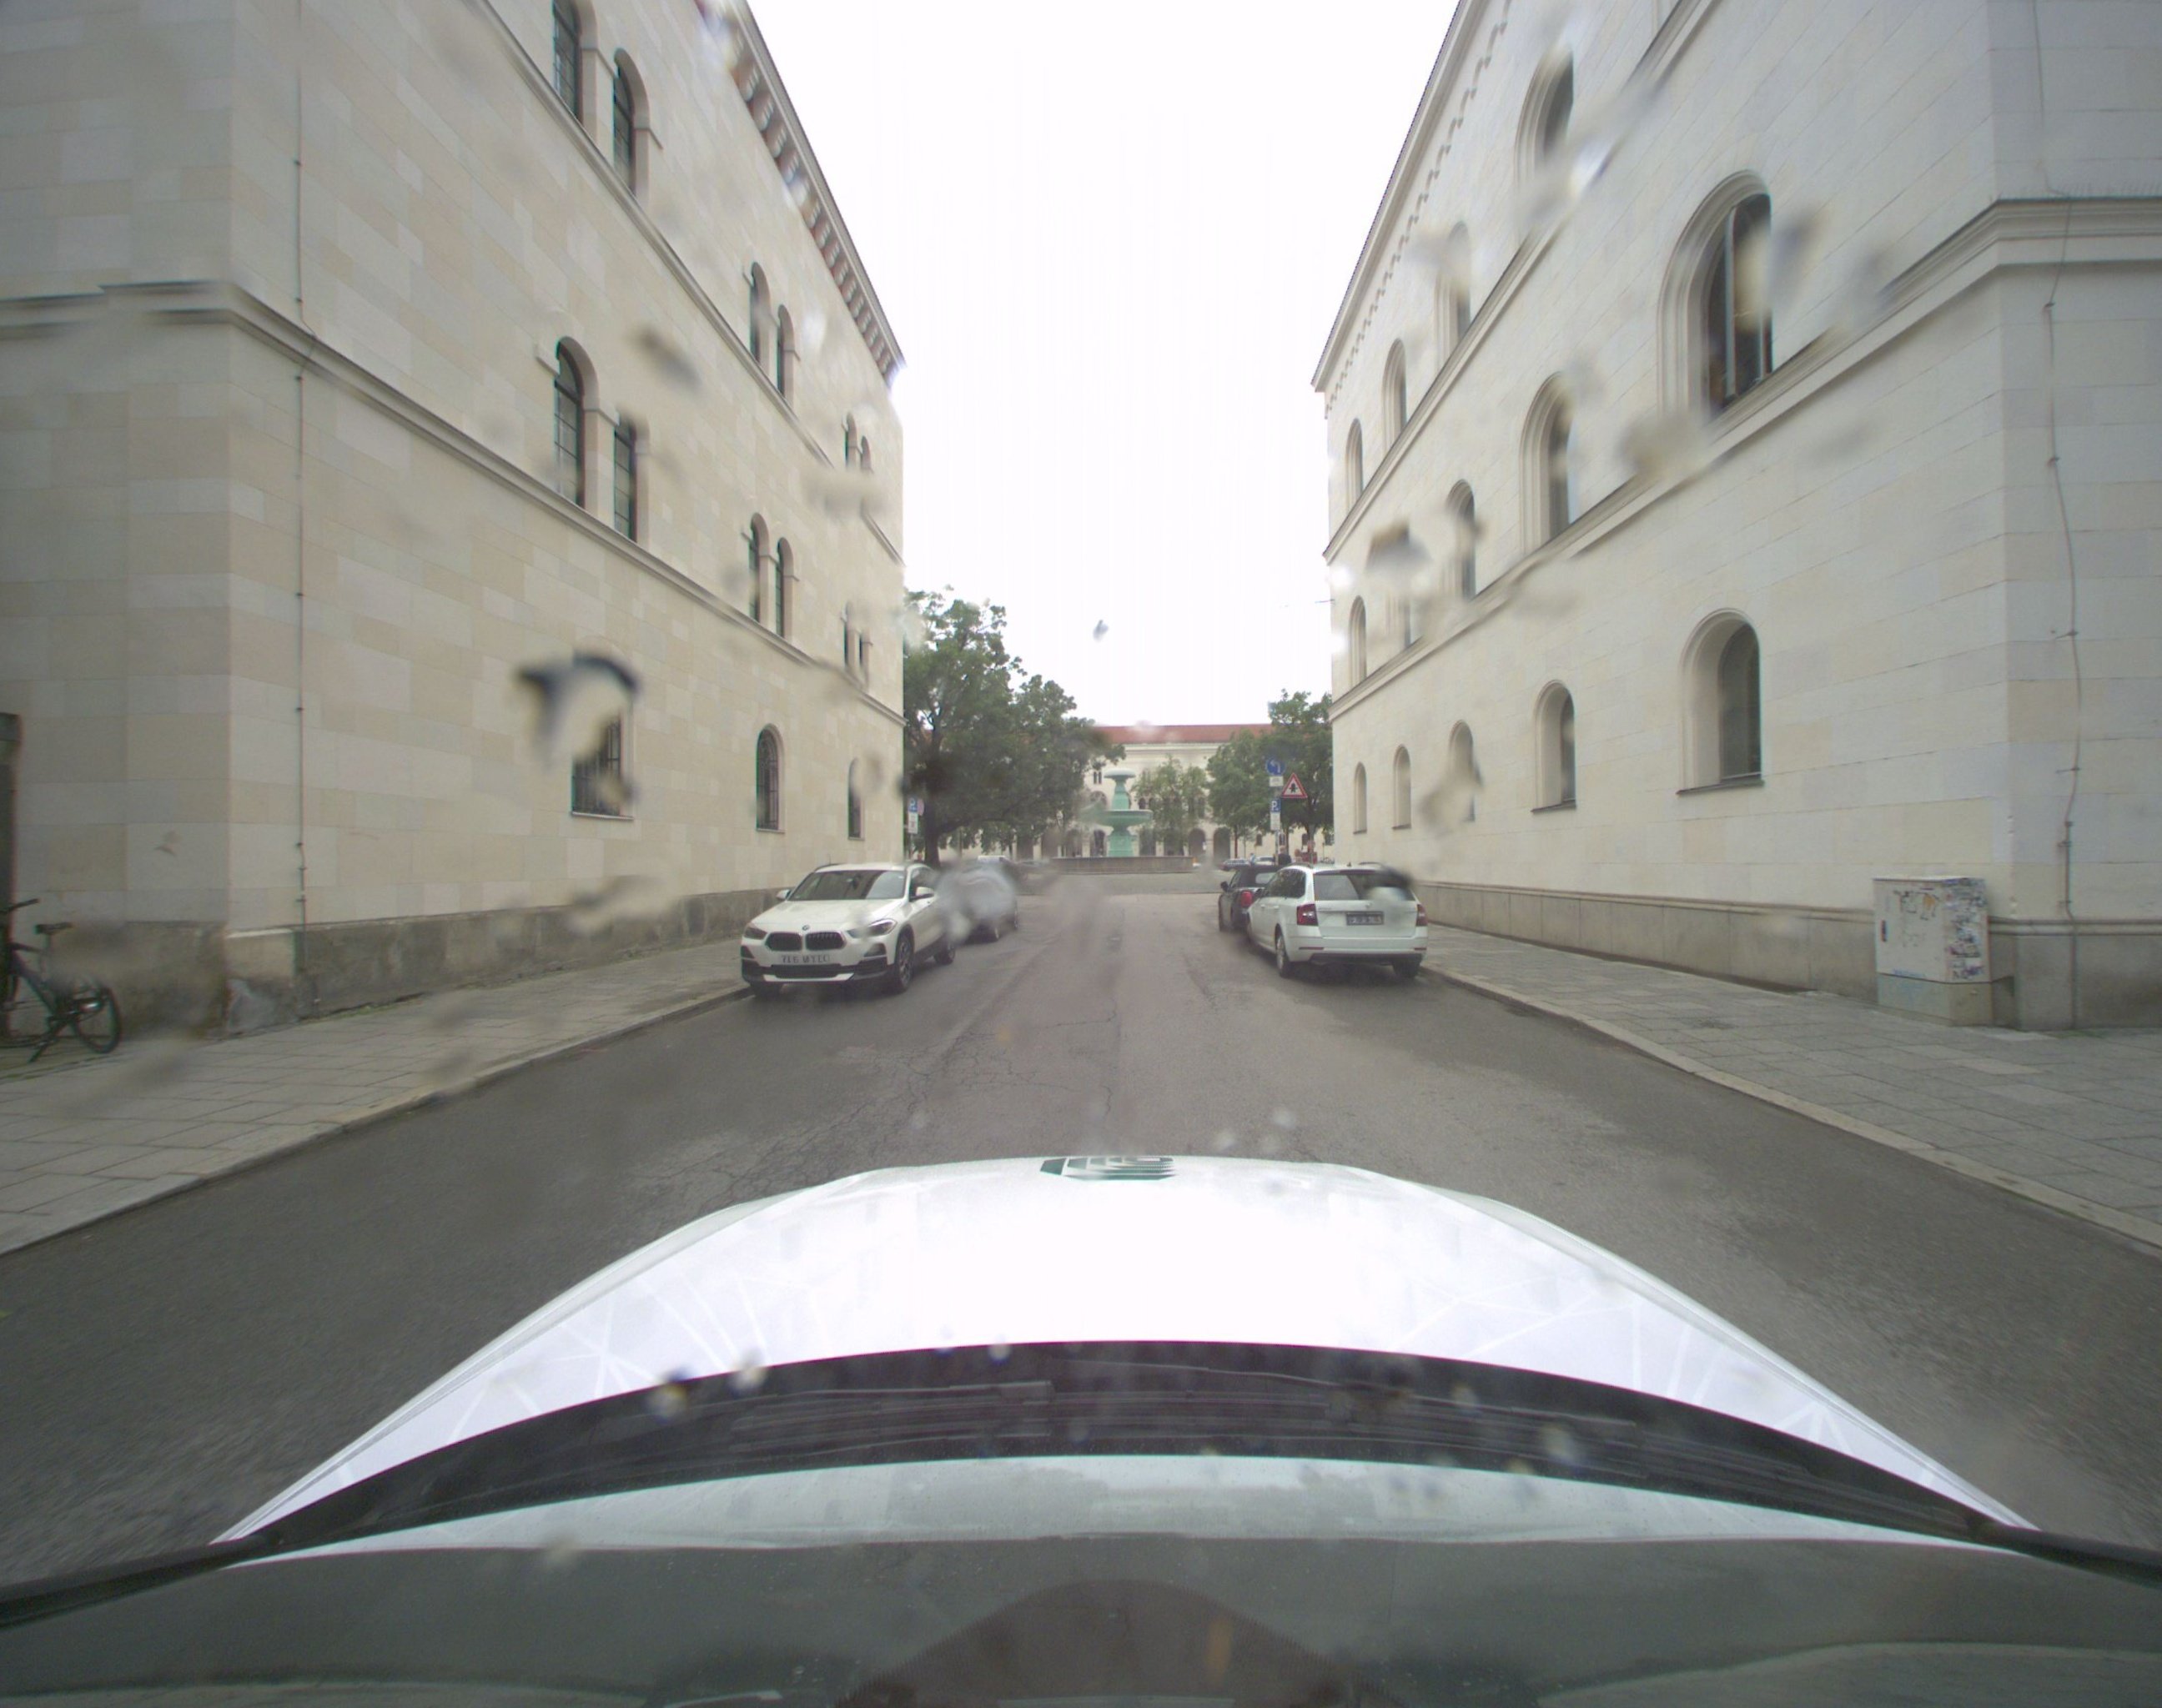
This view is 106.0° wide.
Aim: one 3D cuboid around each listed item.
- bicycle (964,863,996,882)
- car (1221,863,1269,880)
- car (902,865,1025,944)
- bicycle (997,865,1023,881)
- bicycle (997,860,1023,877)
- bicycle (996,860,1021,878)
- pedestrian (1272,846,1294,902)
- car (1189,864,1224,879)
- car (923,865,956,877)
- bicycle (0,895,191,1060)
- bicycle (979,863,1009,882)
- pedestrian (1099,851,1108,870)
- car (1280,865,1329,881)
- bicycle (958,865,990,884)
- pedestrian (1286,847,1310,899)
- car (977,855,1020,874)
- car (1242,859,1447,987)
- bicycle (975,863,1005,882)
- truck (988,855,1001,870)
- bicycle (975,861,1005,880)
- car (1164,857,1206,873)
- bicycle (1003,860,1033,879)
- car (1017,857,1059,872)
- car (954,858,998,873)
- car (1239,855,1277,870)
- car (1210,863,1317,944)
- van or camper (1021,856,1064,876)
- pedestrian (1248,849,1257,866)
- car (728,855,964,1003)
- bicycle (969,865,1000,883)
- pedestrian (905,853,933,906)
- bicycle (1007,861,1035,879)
[{"bbox_3d":[-5.617,1.050,45.398,1.607,1.035,0.701,0,0,14],"label":"bicycle"},{"bbox_3d":[15.833,1.726,78.765,4.338,1.524,1.806,-1,0,4],"label":"car"},{"bbox_3d":[-2.311,0.959,17.077,1.691,1.393,4.215,-2,-1,3],"label":"car"},{"bbox_3d":[-4.597,1.215,52.816,1.524,1.019,0.701,0,0,14],"label":"bicycle"},{"bbox_3d":[-4.515,0.913,51.910,1.524,1.019,0.701,0,0,14],"label":"bicycle"},{"bbox_3d":[-4.571,0.918,51.190,1.391,1.099,0.659,0,0,14],"label":"bicycle"},{"bbox_3d":[6.503,0.639,26.208,0.638,1.808,0.490,-1,0,8],"label":"pedestrian"},{"bbox_3d":[14.910,2.039,97.103,3.972,1.750,1.809,0,0,1],"label":"car"},{"bbox_3d":[-17.051,2.031,98.331,3.658,1.376,1.603,-1,0,1],"label":"car"},{"bbox_3d":[-7.920,0.933,6.364,1.700,1.178,0.477,-1,0,12],"label":"bicycle"},{"bbox_3d":[-5.079,1.068,47.627,1.607,1.099,0.701,0,0,14],"label":"bicycle"},{"bbox_3d":[1.908,0.555,70.034,0.747,1.640,0.711,-1,0,2],"label":"pedestrian"},{"bbox_3d":[21.511,1.841,78.572,4.338,1.418,1.806,-1,0,4],"label":"car"},{"bbox_3d":[-5.847,1.116,44.555,1.607,1.035,0.701,0,0,14],"label":"bicycle"},{"bbox_3d":[7.118,0.626,26.722,0.619,1.681,0.545,1,0,-3],"label":"pedestrian"},{"bbox_3d":[-8.867,1.128,87.273,4.307,2.013,1.826,0,0,3],"label":"car"},{"bbox_3d":[3.489,0.809,11.635,1.781,1.476,4.317,0,0,4],"label":"car"},{"bbox_3d":[-5.236,1.056,46.895,1.607,1.099,0.701,0,0,14],"label":"bicycle"},{"bbox_3d":[-14.392,1.386,134.896,1.992,2.489,3.989,0,0,-8],"label":"truck"},{"bbox_3d":[-5.430,0.979,48.750,1.607,1.099,0.701,0,0,14],"label":"bicycle"},{"bbox_3d":[10.134,1.040,79.200,3.968,1.403,1.827,-1,0,5],"label":"car"},{"bbox_3d":[-3.811,0.924,49.291,1.698,1.099,0.701,0,0,14],"label":"bicycle"},{"bbox_3d":[-4.178,1.043,79.664,3.972,1.376,2.001,-1,0,1],"label":"car"},{"bbox_3d":[-10.240,1.086,79.715,3.972,1.376,2.001,-1,0,1],"label":"car"},{"bbox_3d":[20.983,1.029,96.692,4.085,1.741,1.746,0,0,-1],"label":"car"},{"bbox_3d":[3.568,0.904,16.470,1.533,1.426,3.775,-1,-1,4],"label":"car"},{"bbox_3d":[-4.273,1.332,90.565,4.565,2.014,2.000,-3,-1,0],"label":"van or camper"},{"bbox_3d":[15.187,0.307,72.103,0.576,1.465,0.551,-1,0,26],"label":"pedestrian"},{"bbox_3d":[-2.855,0.846,10.938,1.771,1.535,4.213,-2,-1,2],"label":"car"},{"bbox_3d":[-5.452,1.125,46.136,1.607,1.035,0.701,0,0,14],"label":"bicycle"},{"bbox_3d":[-5.398,0.844,27.178,0.751,1.749,0.690,-2,0,1],"label":"pedestrian"},{"bbox_3d":[-3.663,0.997,49.983,1.607,1.099,0.618,0,0,14],"label":"bicycle"}]
